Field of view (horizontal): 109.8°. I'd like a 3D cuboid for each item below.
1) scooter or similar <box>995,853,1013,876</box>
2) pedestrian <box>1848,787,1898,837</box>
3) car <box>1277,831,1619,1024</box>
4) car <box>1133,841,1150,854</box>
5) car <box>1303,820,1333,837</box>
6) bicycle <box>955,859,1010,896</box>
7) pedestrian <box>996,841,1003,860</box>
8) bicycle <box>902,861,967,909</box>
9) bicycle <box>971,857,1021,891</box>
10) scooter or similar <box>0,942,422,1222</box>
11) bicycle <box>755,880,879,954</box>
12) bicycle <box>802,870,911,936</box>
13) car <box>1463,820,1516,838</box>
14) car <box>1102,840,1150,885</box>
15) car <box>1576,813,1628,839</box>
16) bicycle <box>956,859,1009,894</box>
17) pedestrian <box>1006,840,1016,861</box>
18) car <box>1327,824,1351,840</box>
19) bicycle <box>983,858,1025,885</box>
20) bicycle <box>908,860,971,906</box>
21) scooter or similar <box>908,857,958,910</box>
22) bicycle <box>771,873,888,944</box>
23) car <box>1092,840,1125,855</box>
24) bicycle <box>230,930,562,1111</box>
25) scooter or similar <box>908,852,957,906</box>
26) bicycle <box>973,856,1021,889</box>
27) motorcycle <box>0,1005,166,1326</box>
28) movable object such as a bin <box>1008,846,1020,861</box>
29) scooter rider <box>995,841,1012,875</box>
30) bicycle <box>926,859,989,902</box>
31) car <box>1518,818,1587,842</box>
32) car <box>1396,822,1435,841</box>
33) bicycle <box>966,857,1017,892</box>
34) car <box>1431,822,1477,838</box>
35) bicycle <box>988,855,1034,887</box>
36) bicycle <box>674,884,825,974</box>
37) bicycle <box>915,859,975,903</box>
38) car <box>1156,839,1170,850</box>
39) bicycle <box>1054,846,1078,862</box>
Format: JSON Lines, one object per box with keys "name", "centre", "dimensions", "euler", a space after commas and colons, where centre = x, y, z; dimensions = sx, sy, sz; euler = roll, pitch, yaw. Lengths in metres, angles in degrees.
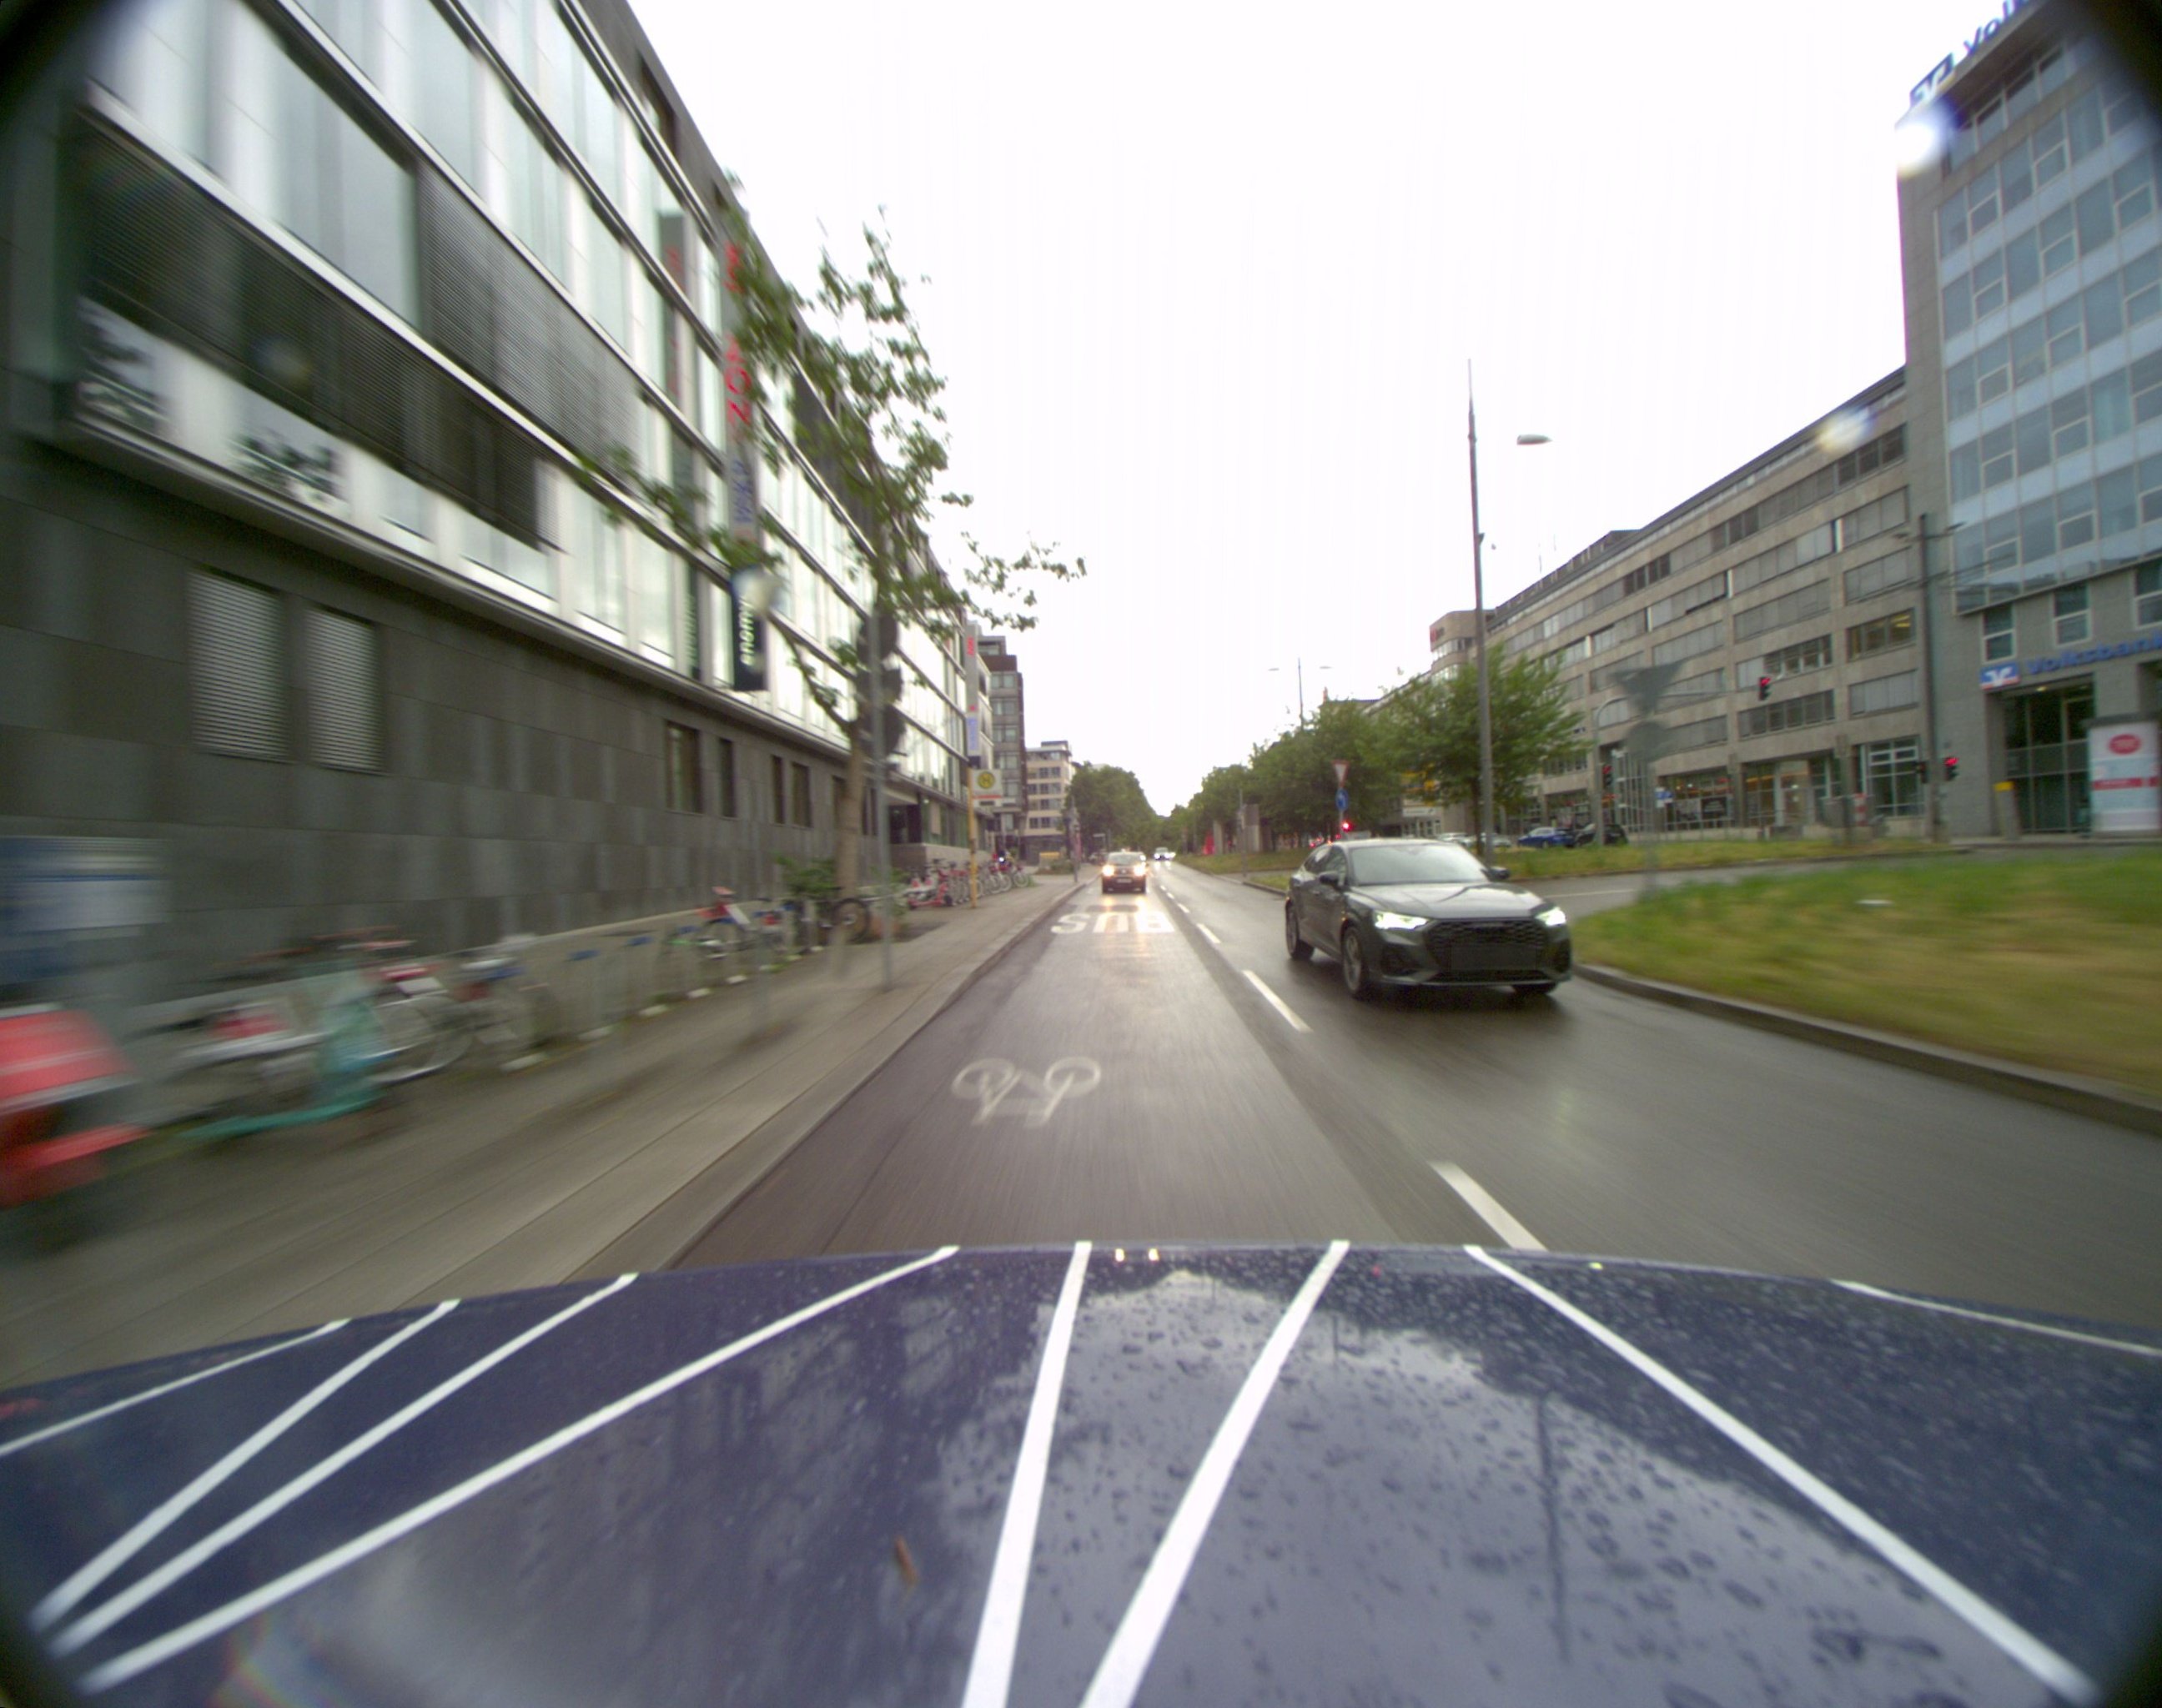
{"name": "scooter or similar", "centre": [-4.721, 0.632, 46.764], "dimensions": [0.779, 1.298, 1.335], "euler": [-2, 1, 7]}
{"name": "pedestrian", "centre": [30.234, -1.593, 29.016], "dimensions": [0.959, 1.871, 0.931], "euler": [-2, 2, -10]}
{"name": "car", "centre": [3.554, 0.569, 8.386], "dimensions": [1.865, 1.509, 4.345], "euler": [-3, 1, 4]}
{"name": "car", "centre": [8.325, -0.923, 105.046], "dimensions": [2.072, 1.578, 4.108], "euler": [-4, 1, 3]}
{"name": "car", "centre": [23.991, -2.542, 76.965], "dimensions": [1.879, 1.571, 4.108], "euler": [-4, 1, 3]}
{"name": "bicycle", "centre": [-3.284, 0.773, 25.449], "dimensions": [1.734, 1.134, 0.689], "euler": [-2, 1, -3]}
{"name": "pedestrian", "centre": [-7.152, -0.295, 66.581], "dimensions": [0.485, 1.690, 0.579], "euler": [-1, 2, 1]}
{"name": "bicycle", "centre": [-3.848, 0.806, 19.994], "dimensions": [1.538, 1.134, 0.662], "euler": [-3, 2, -3]}
{"name": "bicycle", "centre": [-3.127, 0.716, 28.058], "dimensions": [1.734, 1.176, 0.689], "euler": [-2, 1, -3]}
{"name": "scooter or similar", "centre": [-4.870, 1.210, 4.188], "dimensions": [1.797, 1.236, 0.596], "euler": [-4, 2, -2]}
{"name": "bicycle", "centre": [-4.428, 1.052, 12.815], "dimensions": [1.799, 1.062, 0.556], "euler": [-4, 2, -1]}
{"name": "bicycle", "centre": [-4.194, 0.902, 14.276], "dimensions": [1.799, 1.062, 0.556], "euler": [-4, 2, -1]}
{"name": "car", "centre": [29.891, -1.794, 55.736], "dimensions": [1.575, 1.116, 4.106], "euler": [-4, 1, -1]}
{"name": "car", "centre": [1.721, 0.265, 28.451], "dimensions": [1.594, 1.502, 3.709], "euler": [-3, 1, 5]}
{"name": "car", "centre": [30.312, -1.583, 44.249], "dimensions": [1.243, 1.377, 2.627], "euler": [-4, 1, 3]}
{"name": "bicycle", "centre": [-3.386, 0.767, 26.301], "dimensions": [1.734, 1.134, 0.689], "euler": [-2, 1, -3]}
{"name": "pedestrian", "centre": [-6.121, -0.330, 66.546], "dimensions": [0.723, 1.820, 0.747], "euler": [-1, 2, 1]}
{"name": "car", "centre": [23.730, -2.033, 69.954], "dimensions": [1.411, 1.377, 2.627], "euler": [-4, 1, 3]}
{"name": "bicycle", "centre": [-3.248, 0.724, 32.132], "dimensions": [1.734, 1.064, 0.689], "euler": [-2, 1, -3]}
{"name": "bicycle", "centre": [-3.862, 0.781, 20.820], "dimensions": [1.538, 1.134, 0.689], "euler": [-3, 2, -3]}
{"name": "scooter or similar", "centre": [-3.664, 0.732, 18.818], "dimensions": [1.109, 1.251, 0.302], "euler": [-3, 3, -4]}
{"name": "bicycle", "centre": [-4.420, 0.951, 13.414], "dimensions": [1.799, 1.062, 0.556], "euler": [-4, 2, -1]}
{"name": "car", "centre": [3.837, -0.920, 106.034], "dimensions": [4.202, 1.802, 2.003], "euler": [-3, 1, 38]}
{"name": "bicycle", "centre": [-5.193, 1.242, 5.854], "dimensions": [1.799, 1.101, 0.669], "euler": [-4, 2, -2]}
{"name": "scooter or similar", "centre": [-3.592, 0.595, 18.444], "dimensions": [1.063, 1.251, 0.302], "euler": [-3, 3, -4]}
{"name": "bicycle", "centre": [-3.172, 0.701, 28.893], "dimensions": [1.734, 1.176, 0.689], "euler": [-2, 1, -3]}
{"name": "motorcycle", "centre": [-5.141, 1.323, 3.147], "dimensions": [1.797, 1.133, 0.596], "euler": [-4, 2, -2]}
{"name": "movable object such as a bin", "centre": [-5.757, -0.038, 65.294], "dimensions": [0.804, 1.258, 1.788], "euler": [-1, 1, 1]}
{"name": "scooter rider", "centre": [-4.735, 0.240, 46.747], "dimensions": [0.779, 2.009, 0.924], "euler": [-2, 1, 7]}
{"name": "bicycle", "centre": [-3.597, 0.774, 22.302], "dimensions": [1.710, 1.134, 0.689], "euler": [-3, 2, -3]}
{"name": "car", "centre": [30.342, -1.525, 49.067], "dimensions": [1.679, 1.377, 4.319], "euler": [-4, 1, -1]}
{"name": "car", "centre": [30.321, -2.016, 69.011], "dimensions": [1.575, 1.571, 4.106], "euler": [-4, 1, -1]}
{"name": "bicycle", "centre": [-3.185, 0.733, 27.090], "dimensions": [1.734, 1.176, 0.689], "euler": [-2, 1, -3]}
{"name": "car", "centre": [30.018, -1.937, 61.325], "dimensions": [1.575, 1.116, 4.106], "euler": [-4, 1, -1]}
{"name": "bicycle", "centre": [-2.734, 0.674, 29.959], "dimensions": [1.734, 1.176, 0.689], "euler": [-2, 1, -3]}
{"name": "bicycle", "centre": [-4.769, 1.069, 11.019], "dimensions": [1.799, 1.101, 0.669], "euler": [-4, 2, -2]}
{"name": "bicycle", "centre": [-3.853, 0.750, 21.570], "dimensions": [1.538, 1.134, 0.689], "euler": [-3, 2, -3]}
{"name": "car", "centre": [11.104, -1.293, 103.126], "dimensions": [1.605, 1.377, 3.020], "euler": [-4, 1, 3]}
{"name": "bicycle", "centre": [-1.151, 0.004, 58.708], "dimensions": [1.796, 1.200, 0.669], "euler": [-1, 1, -3]}
